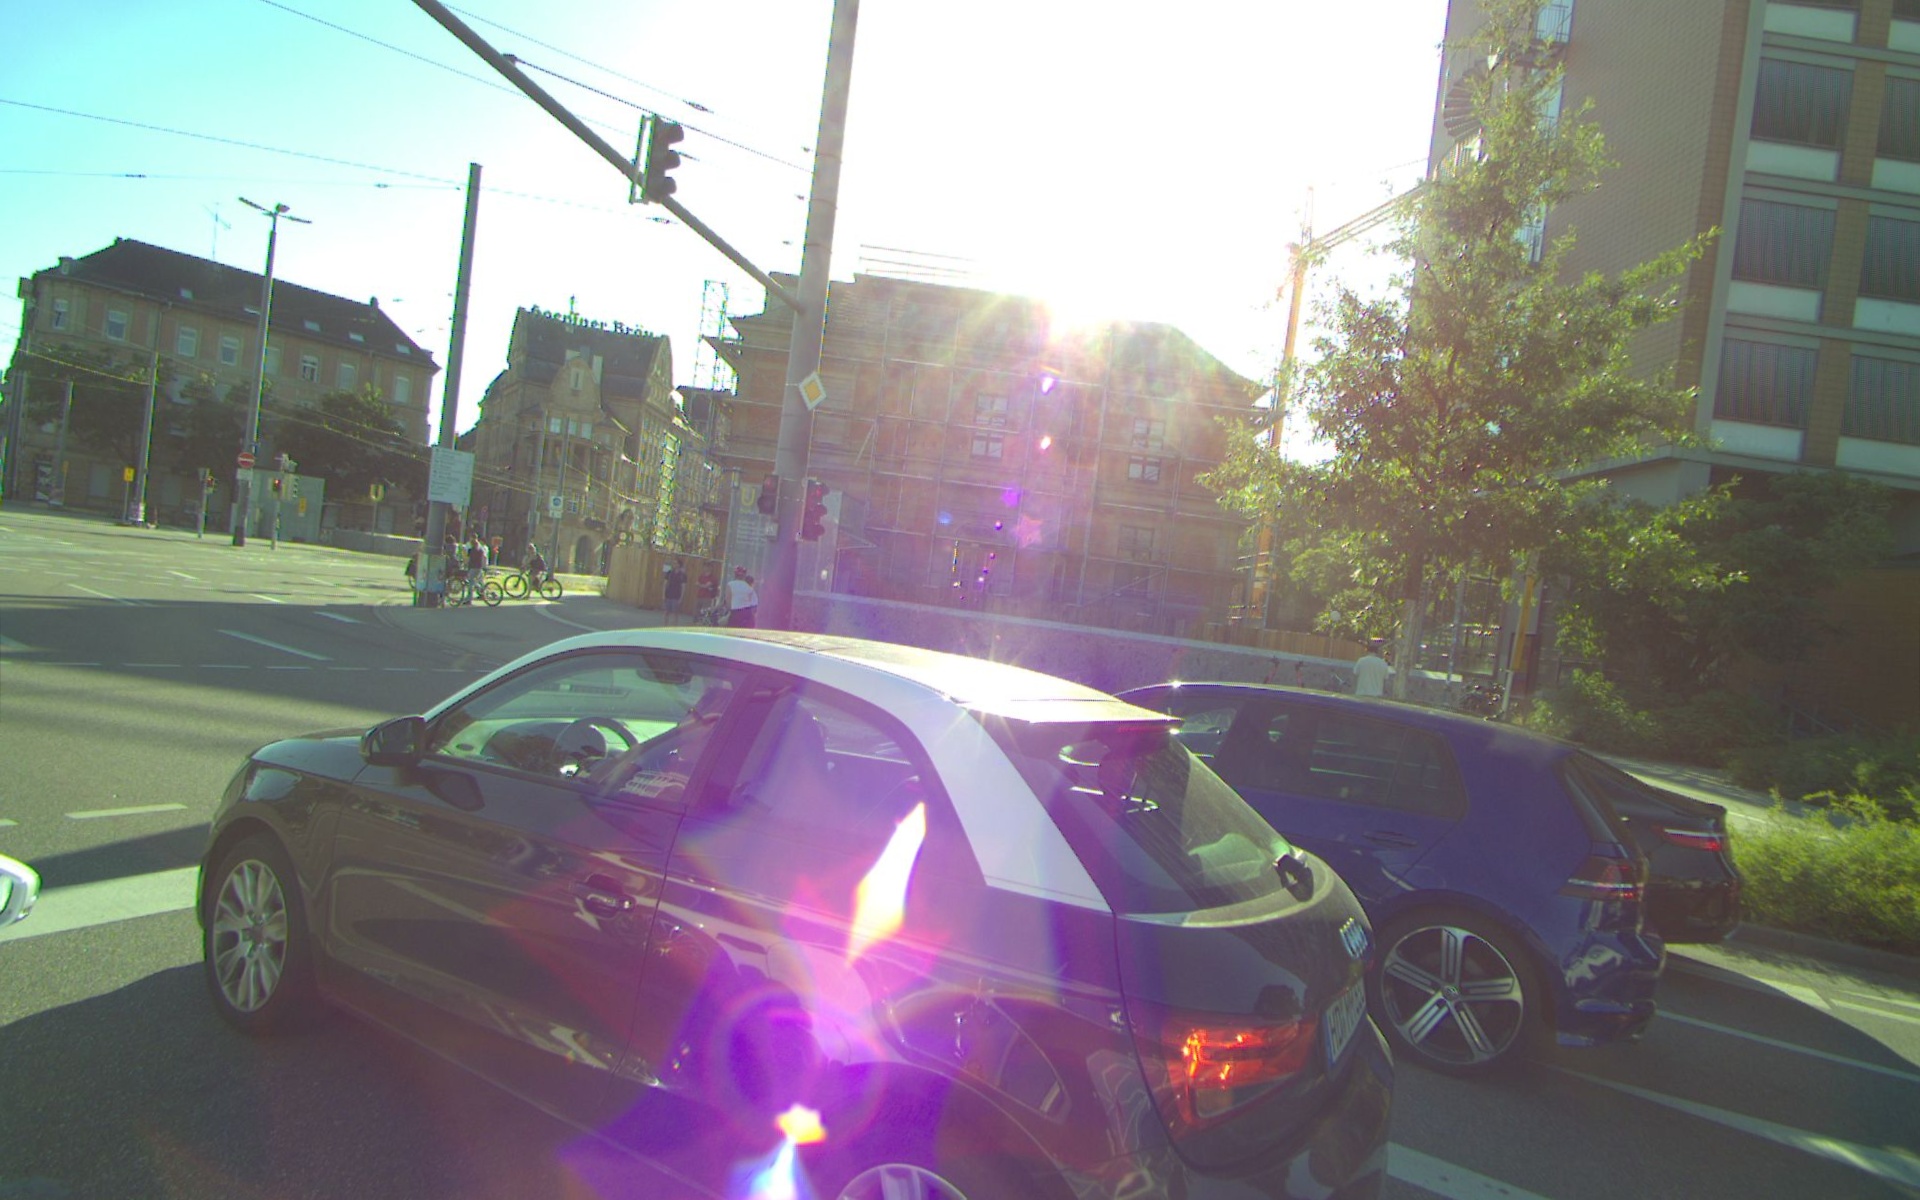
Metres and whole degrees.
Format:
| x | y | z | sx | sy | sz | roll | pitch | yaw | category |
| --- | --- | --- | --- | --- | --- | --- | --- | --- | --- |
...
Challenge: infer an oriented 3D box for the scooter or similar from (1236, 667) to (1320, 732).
| x | y | z | sx | sy | sz | roll | pitch | yaw | category |
| --- | --- | --- | --- | --- | --- | --- | --- | --- | --- |
| 5.904 | 1.835 | 18.686 | 1.348 | 1.007 | 0.342 | 7 | -1 | 25 | scooter or similar |

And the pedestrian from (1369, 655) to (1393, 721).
| x | y | z | sx | sy | sz | roll | pitch | yaw | category |
| --- | --- | --- | --- | --- | --- | --- | --- | --- | --- |
| 11.554 | 2.410 | 27.631 | 0.369 | 1.752 | 0.444 | 7 | -1 | 17 | pedestrian |

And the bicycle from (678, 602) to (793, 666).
| x | y | z | sx | sy | sz | roll | pitch | yaw | category |
| --- | --- | --- | --- | --- | --- | --- | --- | --- | --- |
| -4.404 | 0.657 | 19.790 | 1.997 | 0.976 | 0.660 | 7 | 2 | 5 | bicycle |

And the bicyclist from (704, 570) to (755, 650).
| x | y | z | sx | sy | sz | roll | pitch | yaw | category |
| --- | --- | --- | --- | --- | --- | --- | --- | --- | --- |
| -4.527 | 0.214 | 19.799 | 0.661 | 1.471 | 0.618 | 7 | -1 | 3 | bicyclist |

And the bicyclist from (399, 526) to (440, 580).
| x | y | z | sx | sy | sz | roll | pitch | yaw | category |
| --- | --- | --- | --- | --- | --- | --- | --- | --- | --- |
| -16.848 | -1.461 | 31.364 | 0.930 | 1.575 | 0.516 | 7 | -1 | 24 | bicyclist |

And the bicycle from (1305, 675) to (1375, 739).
| x | y | z | sx | sy | sz | roll | pitch | yaw | category |
| --- | --- | --- | --- | --- | --- | --- | --- | --- | --- |
| 7.029 | 1.966 | 18.641 | 0.352 | 1.015 | 1.149 | 8 | -2 | -29 | bicycle |

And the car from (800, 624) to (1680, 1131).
| x | y | z | sx | sy | sz | roll | pitch | yaw | category |
| --- | --- | --- | --- | --- | --- | --- | --- | --- | --- |
| 1.259 | 1.102 | 5.350 | 3.934 | 1.420 | 1.627 | 6 | -2 | 32 | car |

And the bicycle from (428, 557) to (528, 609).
| x | y | z | sx | sy | sz | roll | pitch | yaw | category |
| --- | --- | --- | --- | --- | --- | --- | --- | --- | --- |
| -12.752 | -0.454 | 26.627 | 2.276 | 1.061 | 0.702 | 7 | -1 | 8 | bicycle |

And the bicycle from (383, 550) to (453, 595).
| x | y | z | sx | sy | sz | roll | pitch | yaw | category |
| --- | --- | --- | --- | --- | --- | --- | --- | --- | --- |
| -16.895 | -0.866 | 31.344 | 2.278 | 1.061 | 0.536 | 8 | -1 | 24 | bicycle |

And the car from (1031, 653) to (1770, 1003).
| x | y | z | sx | sy | sz | roll | pitch | yaw | category |
| --- | --- | --- | --- | --- | --- | --- | --- | --- | --- |
| 2.963 | 1.415 | 7.485 | 4.435 | 1.420 | 1.727 | 6 | -2 | 30 | car |

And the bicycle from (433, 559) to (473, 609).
| x | y | z | sx | sy | sz | roll | pitch | yaw | category |
| --- | --- | --- | --- | --- | --- | --- | --- | --- | --- |
| -12.682 | -0.418 | 25.142 | 0.693 | 1.061 | 2.303 | 9 | -1 | -29 | bicycle |

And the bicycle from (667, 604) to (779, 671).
| x | y | z | sx | sy | sz | roll | pitch | yaw | category |
| --- | --- | --- | --- | --- | --- | --- | --- | --- | --- |
| -4.385 | 0.678 | 18.584 | 1.999 | 0.976 | 0.659 | 6 | 2 | 27 | bicycle |

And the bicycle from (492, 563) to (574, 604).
| x | y | z | sx | sy | sz | roll | pitch | yaw | category |
| --- | --- | --- | --- | --- | --- | --- | --- | --- | --- |
| -13.437 | -0.511 | 31.671 | 2.289 | 1.063 | 0.532 | 5 | 2 | -25 | bicycle |

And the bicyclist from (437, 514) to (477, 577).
| x | y | z | sx | sy | sz | roll | pitch | yaw | category |
| --- | --- | --- | --- | --- | --- | --- | --- | --- | --- |
| -12.603 | -1.353 | 25.204 | 0.703 | 1.456 | 0.940 | 8 | -1 | -30 | bicyclist |

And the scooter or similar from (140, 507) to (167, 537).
| x | y | z | sx | sy | sz | roll | pitch | yaw | category |
| --- | --- | --- | --- | --- | --- | --- | --- | --- | --- |
| -41.848 | -4.051 | 52.182 | 0.784 | 1.392 | 1.885 | 8 | -2 | -44 | scooter or similar |

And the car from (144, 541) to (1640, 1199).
| x | y | z | sx | sy | sz | roll | pitch | yaw | category |
| --- | --- | --- | --- | --- | --- | --- | --- | --- | --- |
| -0.505 | 0.774 | 2.953 | 3.934 | 1.420 | 1.627 | 6 | -2 | 32 | car |

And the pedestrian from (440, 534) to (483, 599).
| x | y | z | sx | sy | sz | roll | pitch | yaw | category |
| --- | --- | --- | --- | --- | --- | --- | --- | --- | --- |
| -16.528 | -1.112 | 33.372 | 0.748 | 2.037 | 0.733 | 7 | -1 | 25 | pedestrian |

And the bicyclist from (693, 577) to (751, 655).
| x | y | z | sx | sy | sz | roll | pitch | yaw | category |
| --- | --- | --- | --- | --- | --- | --- | --- | --- | --- |
| -4.400 | 0.299 | 18.607 | 0.662 | 1.330 | 0.617 | 7 | -1 | 27 | bicyclist |

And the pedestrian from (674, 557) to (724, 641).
| x | y | z | sx | sy | sz | roll | pitch | yaw | category |
| --- | --- | --- | --- | --- | --- | --- | --- | --- | --- |
| -6.004 | -0.018 | 23.160 | 0.672 | 1.828 | 0.672 | 7 | -1 | 11 | pedestrian |

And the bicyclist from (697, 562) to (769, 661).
| x | y | z | sx | sy | sz | roll | pitch | yaw | category |
| --- | --- | --- | --- | --- | --- | --- | --- | --- | --- |
| -3.873 | 0.209 | 17.211 | 0.781 | 1.571 | 0.668 | 7 | -1 | 27 | bicyclist |

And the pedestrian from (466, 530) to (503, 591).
| x | y | z | sx | sy | sz | roll | pitch | yaw | category |
| --- | --- | --- | --- | --- | --- | --- | --- | --- | --- |
| -16.131 | -1.346 | 34.128 | 0.678 | 1.945 | 0.649 | 7 | -1 | 25 | pedestrian |

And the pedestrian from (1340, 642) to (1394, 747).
| x | y | z | sx | sy | sz | roll | pitch | yaw | category |
| --- | --- | --- | --- | --- | --- | --- | --- | --- | --- |
| 6.850 | 1.572 | 16.932 | 0.592 | 1.662 | 0.677 | 7 | 3 | 29 | pedestrian |

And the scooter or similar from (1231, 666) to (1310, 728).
| x | y | z | sx | sy | sz | roll | pitch | yaw | category |
| --- | --- | --- | --- | --- | --- | --- | --- | --- | --- |
| 5.998 | 1.872 | 19.471 | 1.346 | 1.007 | 0.343 | 7 | -1 | 13 | scooter or similar |

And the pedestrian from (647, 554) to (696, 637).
| x | y | z | sx | sy | sz | roll | pitch | yaw | category |
| --- | --- | --- | --- | --- | --- | --- | --- | --- | --- |
| -6.679 | -0.101 | 23.317 | 0.672 | 1.830 | 0.672 | 7 | 2 | 11 | pedestrian |

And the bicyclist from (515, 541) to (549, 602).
| x | y | z | sx | sy | sz | roll | pitch | yaw | category |
| --- | --- | --- | --- | --- | --- | --- | --- | --- | --- |
| -13.453 | -0.886 | 31.642 | 0.785 | 1.800 | 0.520 | 8 | -1 | -23 | bicyclist |

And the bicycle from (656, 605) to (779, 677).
| x | y | z | sx | sy | sz | roll | pitch | yaw | category |
| --- | --- | --- | --- | --- | --- | --- | --- | --- | --- |
| -4.182 | 0.693 | 17.311 | 1.999 | 0.974 | 0.660 | 6 | -1 | 27 | bicycle |

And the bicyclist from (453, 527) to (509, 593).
| x | y | z | sx | sy | sz | roll | pitch | yaw | category |
| --- | --- | --- | --- | --- | --- | --- | --- | --- | --- |
| -12.680 | -1.049 | 26.629 | 0.929 | 1.575 | 0.711 | 7 | -1 | 9 | bicyclist |
